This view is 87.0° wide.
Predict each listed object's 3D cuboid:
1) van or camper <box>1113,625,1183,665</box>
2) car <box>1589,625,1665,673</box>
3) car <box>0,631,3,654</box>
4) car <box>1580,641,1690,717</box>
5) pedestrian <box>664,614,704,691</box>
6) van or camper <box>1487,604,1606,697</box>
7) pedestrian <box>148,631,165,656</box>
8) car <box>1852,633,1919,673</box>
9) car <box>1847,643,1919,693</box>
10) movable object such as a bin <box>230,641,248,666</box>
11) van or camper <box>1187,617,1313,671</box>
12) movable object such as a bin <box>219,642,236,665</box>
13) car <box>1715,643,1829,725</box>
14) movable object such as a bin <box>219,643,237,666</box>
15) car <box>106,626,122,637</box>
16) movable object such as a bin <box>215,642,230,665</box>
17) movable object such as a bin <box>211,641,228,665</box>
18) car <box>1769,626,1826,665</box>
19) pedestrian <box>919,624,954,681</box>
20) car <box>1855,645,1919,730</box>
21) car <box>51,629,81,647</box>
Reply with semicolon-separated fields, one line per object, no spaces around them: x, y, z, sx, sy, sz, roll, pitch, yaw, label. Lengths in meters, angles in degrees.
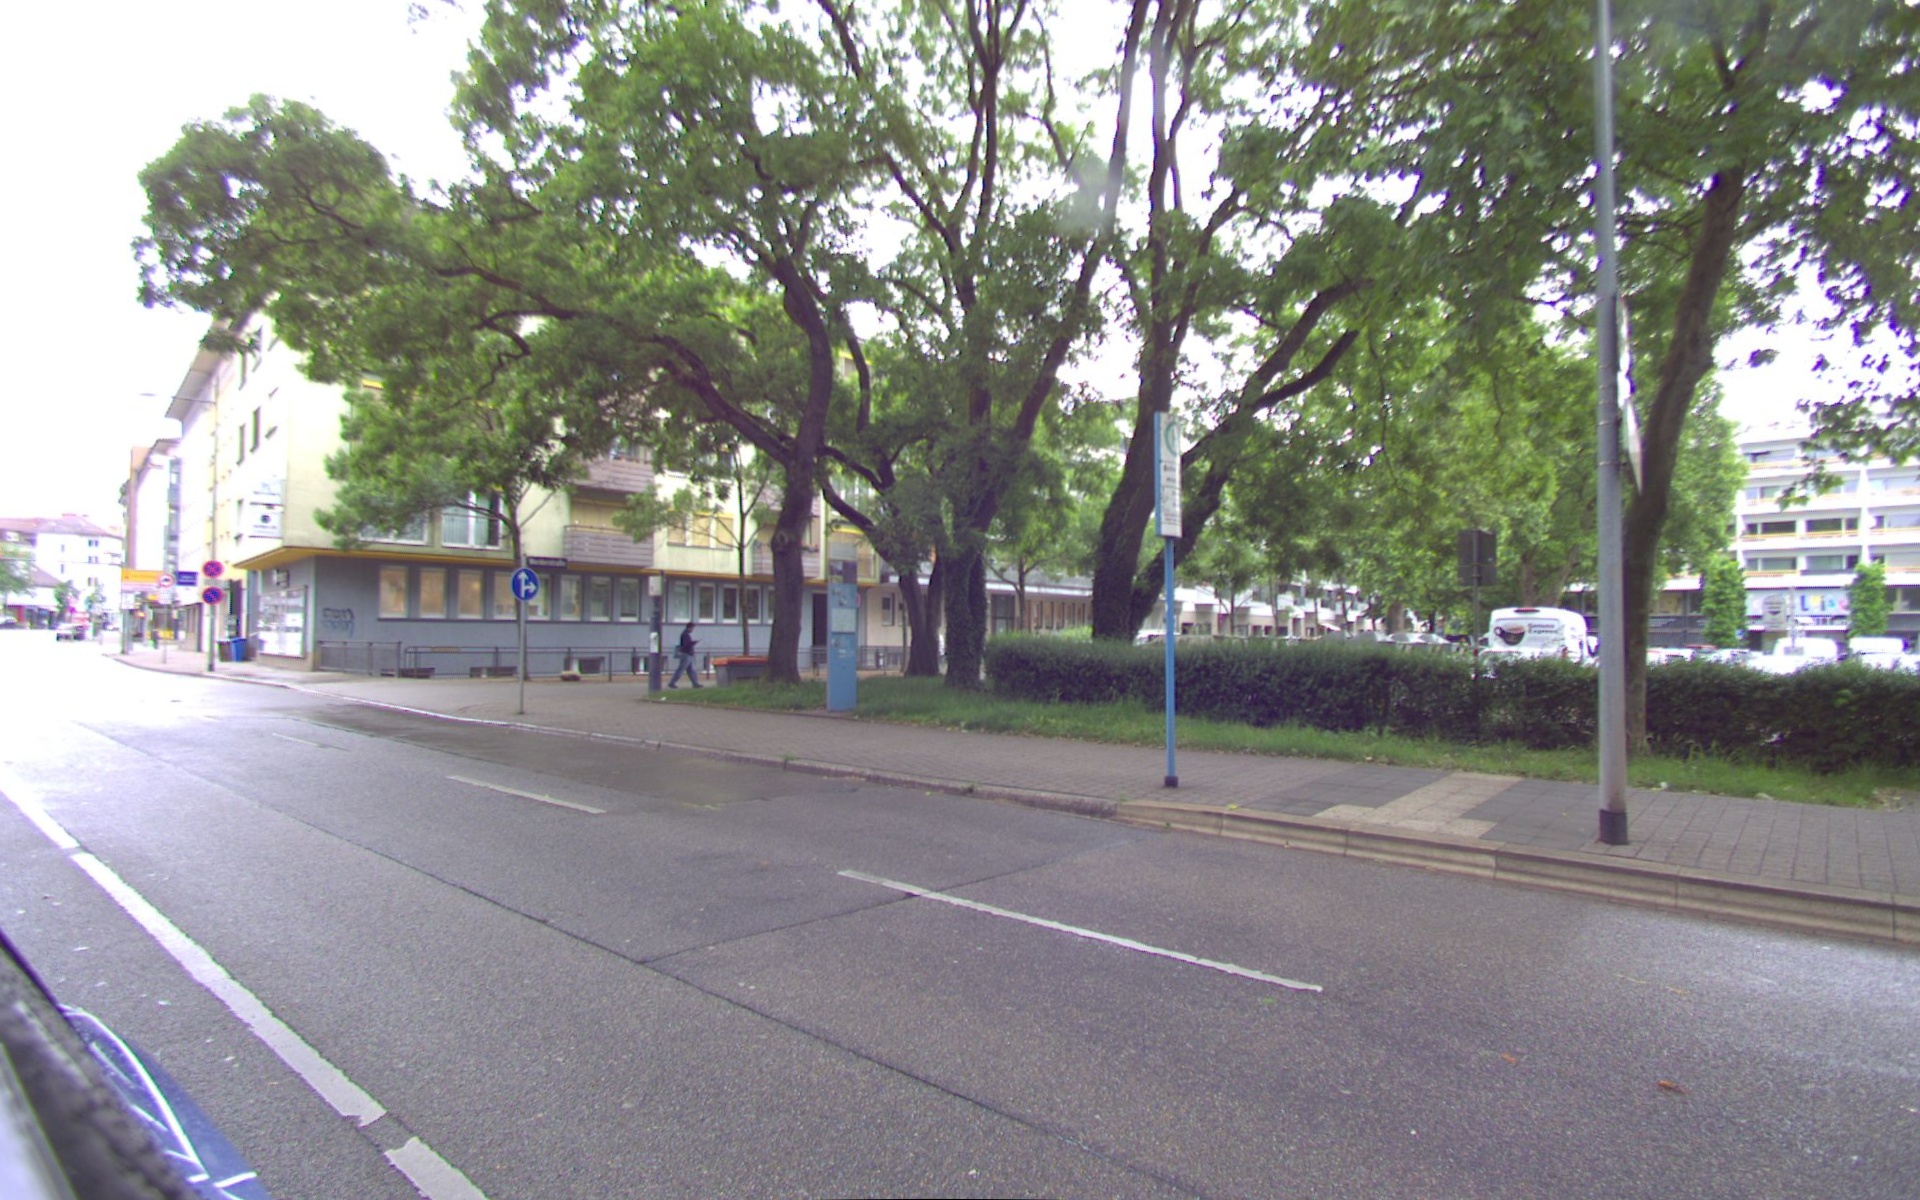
10.389;2.502;55.603;1.825;2.029;4.576;1;-2;38;van or camper
24.042;1.724;36.432;1.895;1.497;3.948;-1;0;39;car
-69.666;2.895;70.054;4.897;1.618;1.563;4;-4;-45;car
16.716;1.872;24.993;1.895;1.497;3.948;-1;0;39;car
-7.478;1.416;27.448;0.770;2.029;0.753;2;-3;-44;pedestrian
16.951;1.424;29.142;2.099;2.450;4.280;-2;-3;42;van or camper
-53.482;2.902;67.362;0.773;1.600;0.675;-1;-1;-29;pedestrian
40.312;2.276;44.149;1.895;1.497;3.948;-1;0;39;car
33.344;2.412;36.452;1.895;1.497;3.948;-1;0;39;car
-29.808;2.203;41.849;0.522;0.968;0.435;-3;1;-42;movable object such as a bin
14.289;2.138;49.385;2.561;2.420;8.535;-2;-3;41;van or camper
-30.728;2.249;42.448;0.521;0.935;0.426;-3;1;-42;movable object such as a bin
18.595;1.841;23.208;1.895;1.497;3.948;-1;0;39;car
-30.386;2.257;42.028;0.522;0.902;0.435;-3;1;-42;movable object such as a bin
-126.849;4.718;151.752;1.567;1.539;3.496;2;-3;-36;car
-31.176;2.274;42.783;0.458;0.935;0.429;-3;1;-42;movable object such as a bin
-31.719;2.261;43.361;0.510;1.008;0.524;-3;1;-42;movable object such as a bin
41.881;2.238;50.670;2.097;1.735;3.948;-1;0;39;car
-0.820;1.836;35.538;0.906;1.939;0.820;2;-3;-43;pedestrian
20.492;1.810;21.600;1.895;1.497;3.948;-1;0;39;car
-82.239;3.487;93.136;1.807;1.634;4.007;2;-3;-39;car
